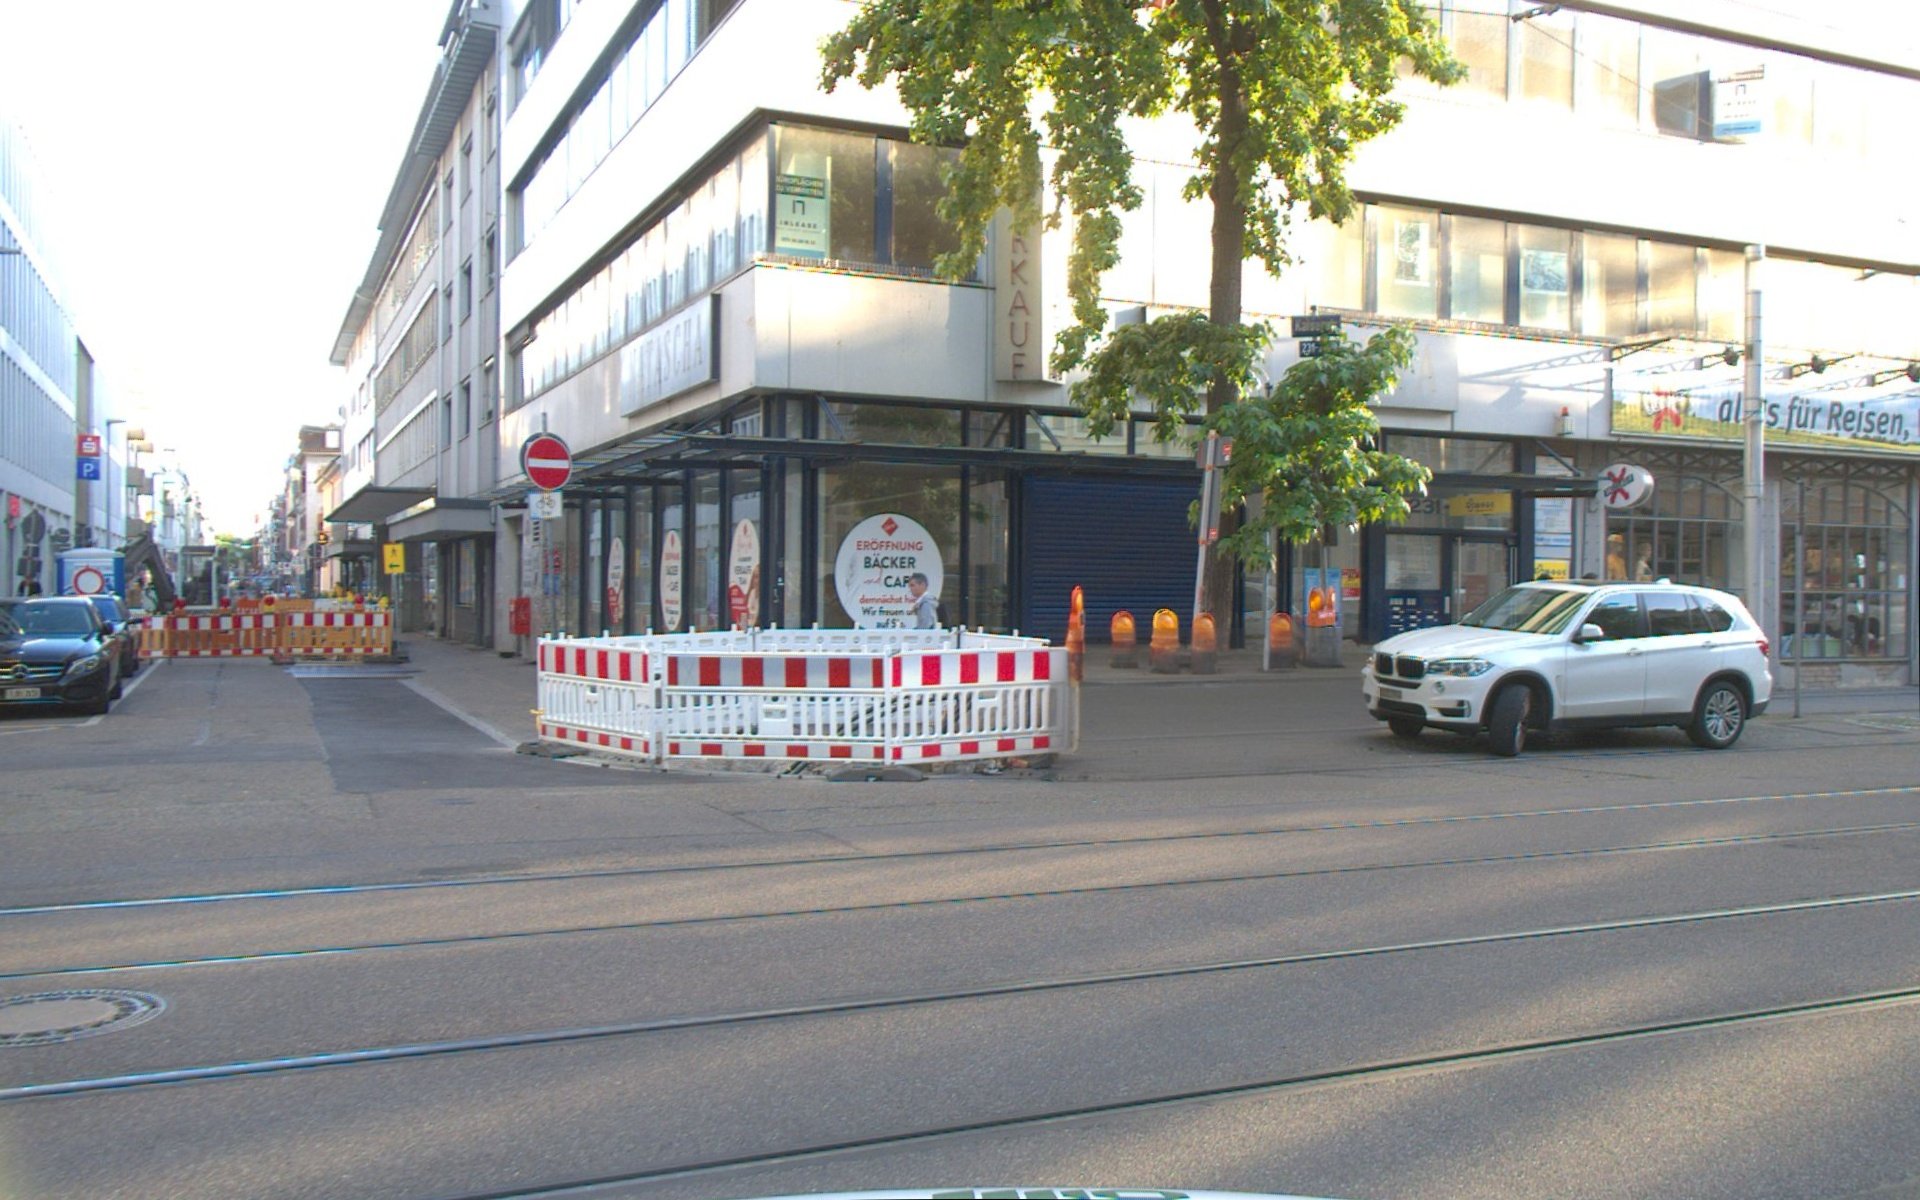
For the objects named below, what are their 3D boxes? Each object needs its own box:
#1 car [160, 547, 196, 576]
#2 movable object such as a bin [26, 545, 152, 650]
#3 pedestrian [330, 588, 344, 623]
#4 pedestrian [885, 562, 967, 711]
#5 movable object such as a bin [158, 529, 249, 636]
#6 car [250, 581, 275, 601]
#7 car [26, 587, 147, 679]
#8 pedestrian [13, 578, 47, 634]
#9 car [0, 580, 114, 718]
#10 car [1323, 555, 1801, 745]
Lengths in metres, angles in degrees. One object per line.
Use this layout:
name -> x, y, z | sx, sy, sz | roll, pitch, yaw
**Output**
car -> -50.396, -2.470, 106.636 | 1.967, 1.807, 3.971 | -1, 1, -23
movable object such as a bin -> -18.192, -0.078, 34.706 | 1.967, 2.049, 3.972 | -1, 1, -23
pedestrian -> -26.603, 0.214, 70.616 | 0.515, 1.490, 0.715 | 0, 0, -16
pedestrian -> -0.370, 0.378, 17.994 | 0.696, 1.576, 0.574 | -1, 1, -27
movable object such as a bin -> -20.225, -0.472, 44.356 | 2.128, 2.710, 4.539 | 0, 1, -24
car -> -63.016, -0.837, 149.390 | 1.967, 1.807, 3.971 | -1, 1, -23
car -> -15.308, 0.528, 29.103 | 1.769, 1.477, 3.115 | -1, 1, -27
pedestrian -> -25.000, 0.153, 44.456 | 0.706, 1.490, 0.522 | -1, 1, -22
car -> -11.516, 0.556, 20.688 | 1.610, 1.577, 3.115 | -1, 1, -27
car -> 6.581, 0.469, 18.058 | 4.866, 1.806, 2.007 | 0, 3, -24
